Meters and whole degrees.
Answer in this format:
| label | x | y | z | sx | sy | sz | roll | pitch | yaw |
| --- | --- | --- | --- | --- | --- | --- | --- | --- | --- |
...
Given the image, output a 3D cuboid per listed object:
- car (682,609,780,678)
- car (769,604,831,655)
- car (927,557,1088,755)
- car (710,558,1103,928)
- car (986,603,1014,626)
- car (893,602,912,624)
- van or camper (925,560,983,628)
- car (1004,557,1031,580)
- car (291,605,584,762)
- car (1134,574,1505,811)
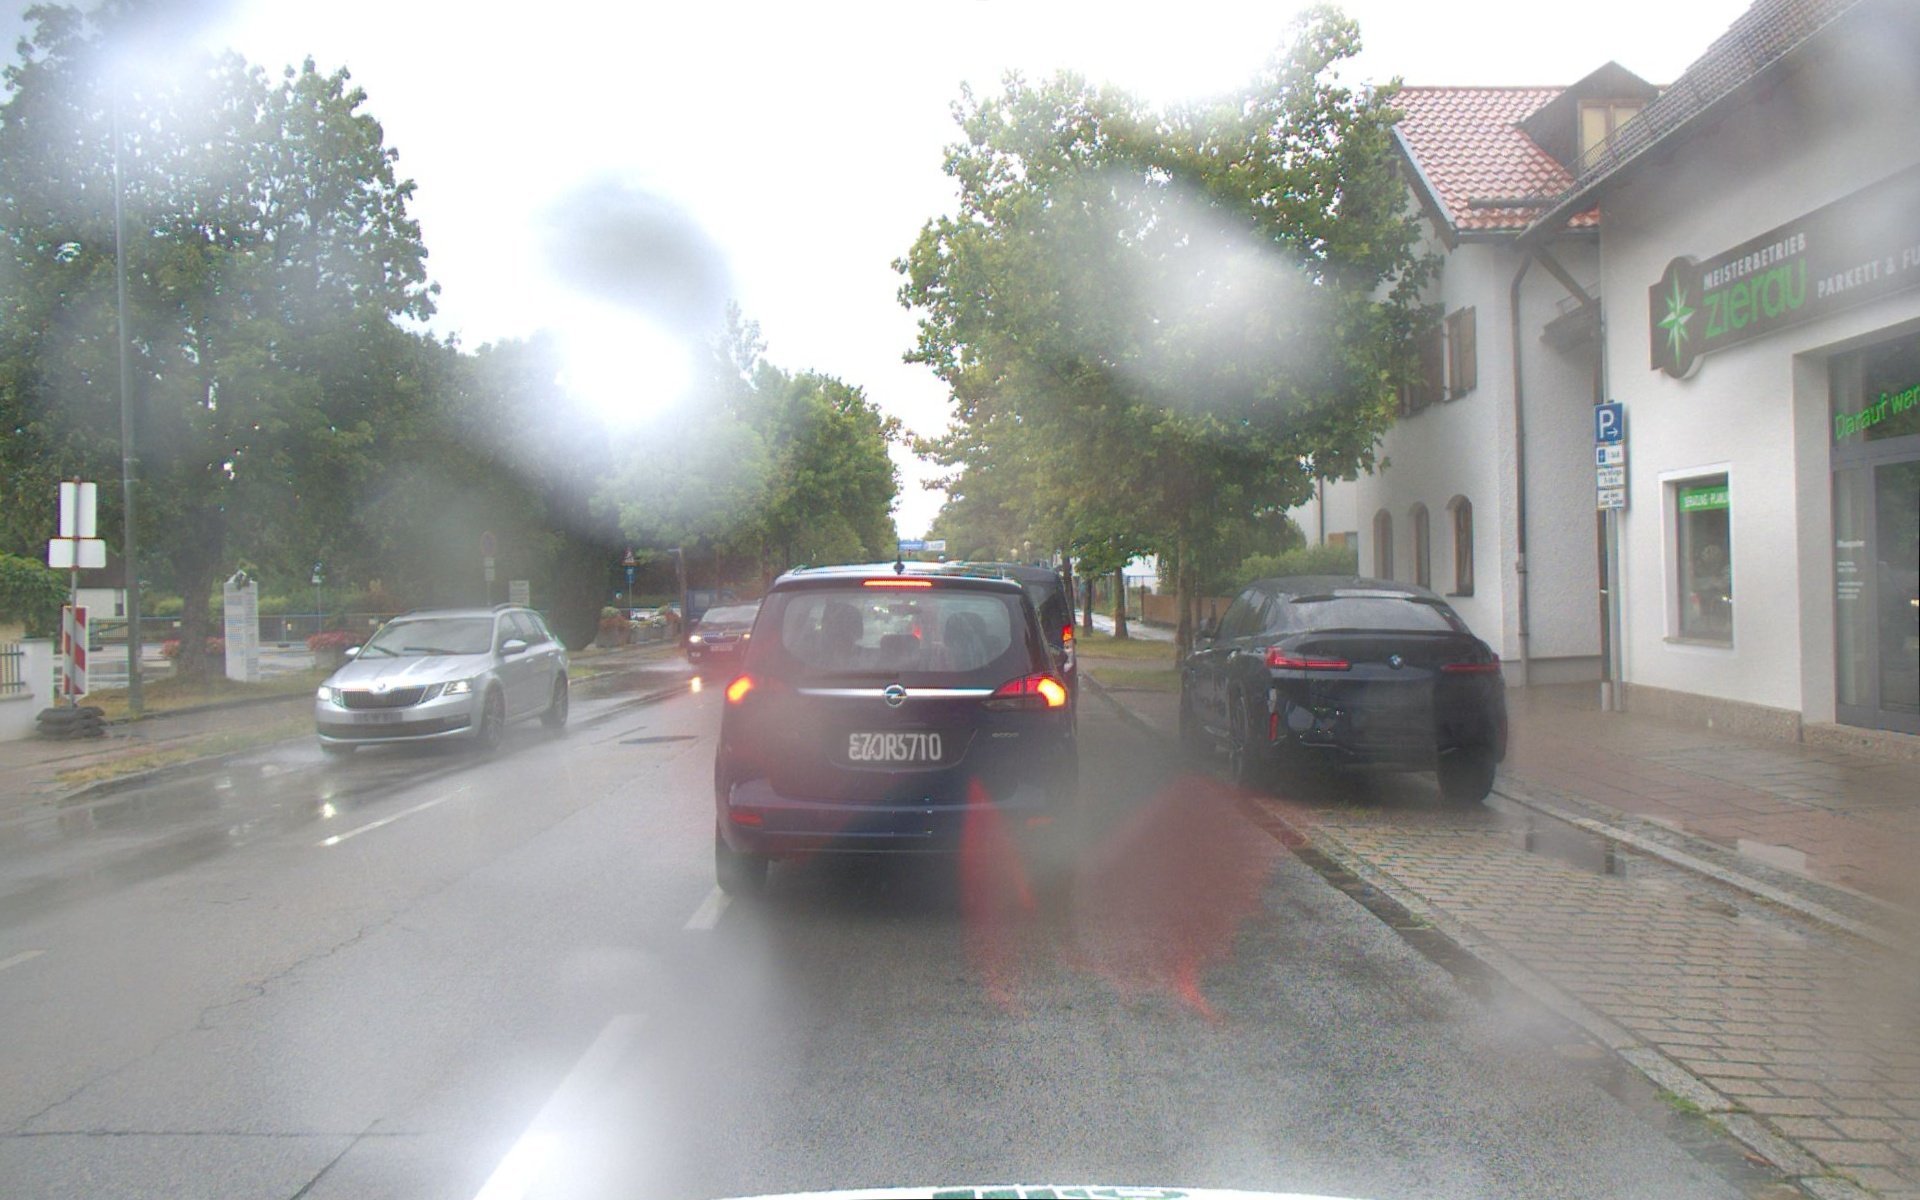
| label | x | y | z | sx | sy | sz | roll | pitch | yaw |
| --- | --- | --- | --- | --- | --- | --- | --- | --- | --- |
| car | -5.196 | 0.956 | 38.000 | 1.548 | 1.399 | 4.184 | -3 | 0 | 1 |
| car | -4.794 | 0.865 | 49.998 | 1.443 | 1.399 | 3.208 | -3 | 0 | 1 |
| car | 0.427 | 0.511 | 16.657 | 1.469 | 1.807 | 3.111 | 0 | 0 | 0 |
| car | -0.242 | 0.628 | 9.163 | 1.732 | 1.633 | 3.663 | 0 | 0 | 0 |
| car | 2.425 | 0.895 | 101.658 | 1.597 | 1.402 | 3.622 | 0 | -1 | 0 |
| car | -4.540 | 1.027 | 130.697 | 1.446 | 1.652 | 3.690 | 0 | -1 | -1 |
| van or camper | -0.261 | -0.258 | 70.512 | 2.312 | 2.712 | 5.371 | -2 | 0 | 0 |
| car | 3.854 | -2.101 | 111.558 | 1.597 | 1.402 | 3.622 | -2 | 0 | 0 |
| car | -5.520 | 0.812 | 18.055 | 1.742 | 1.399 | 4.184 | -3 | 0 | 1 |
| car | 2.666 | 0.639 | 13.258 | 2.074 | 1.609 | 3.935 | 0 | 0 | -1 |
